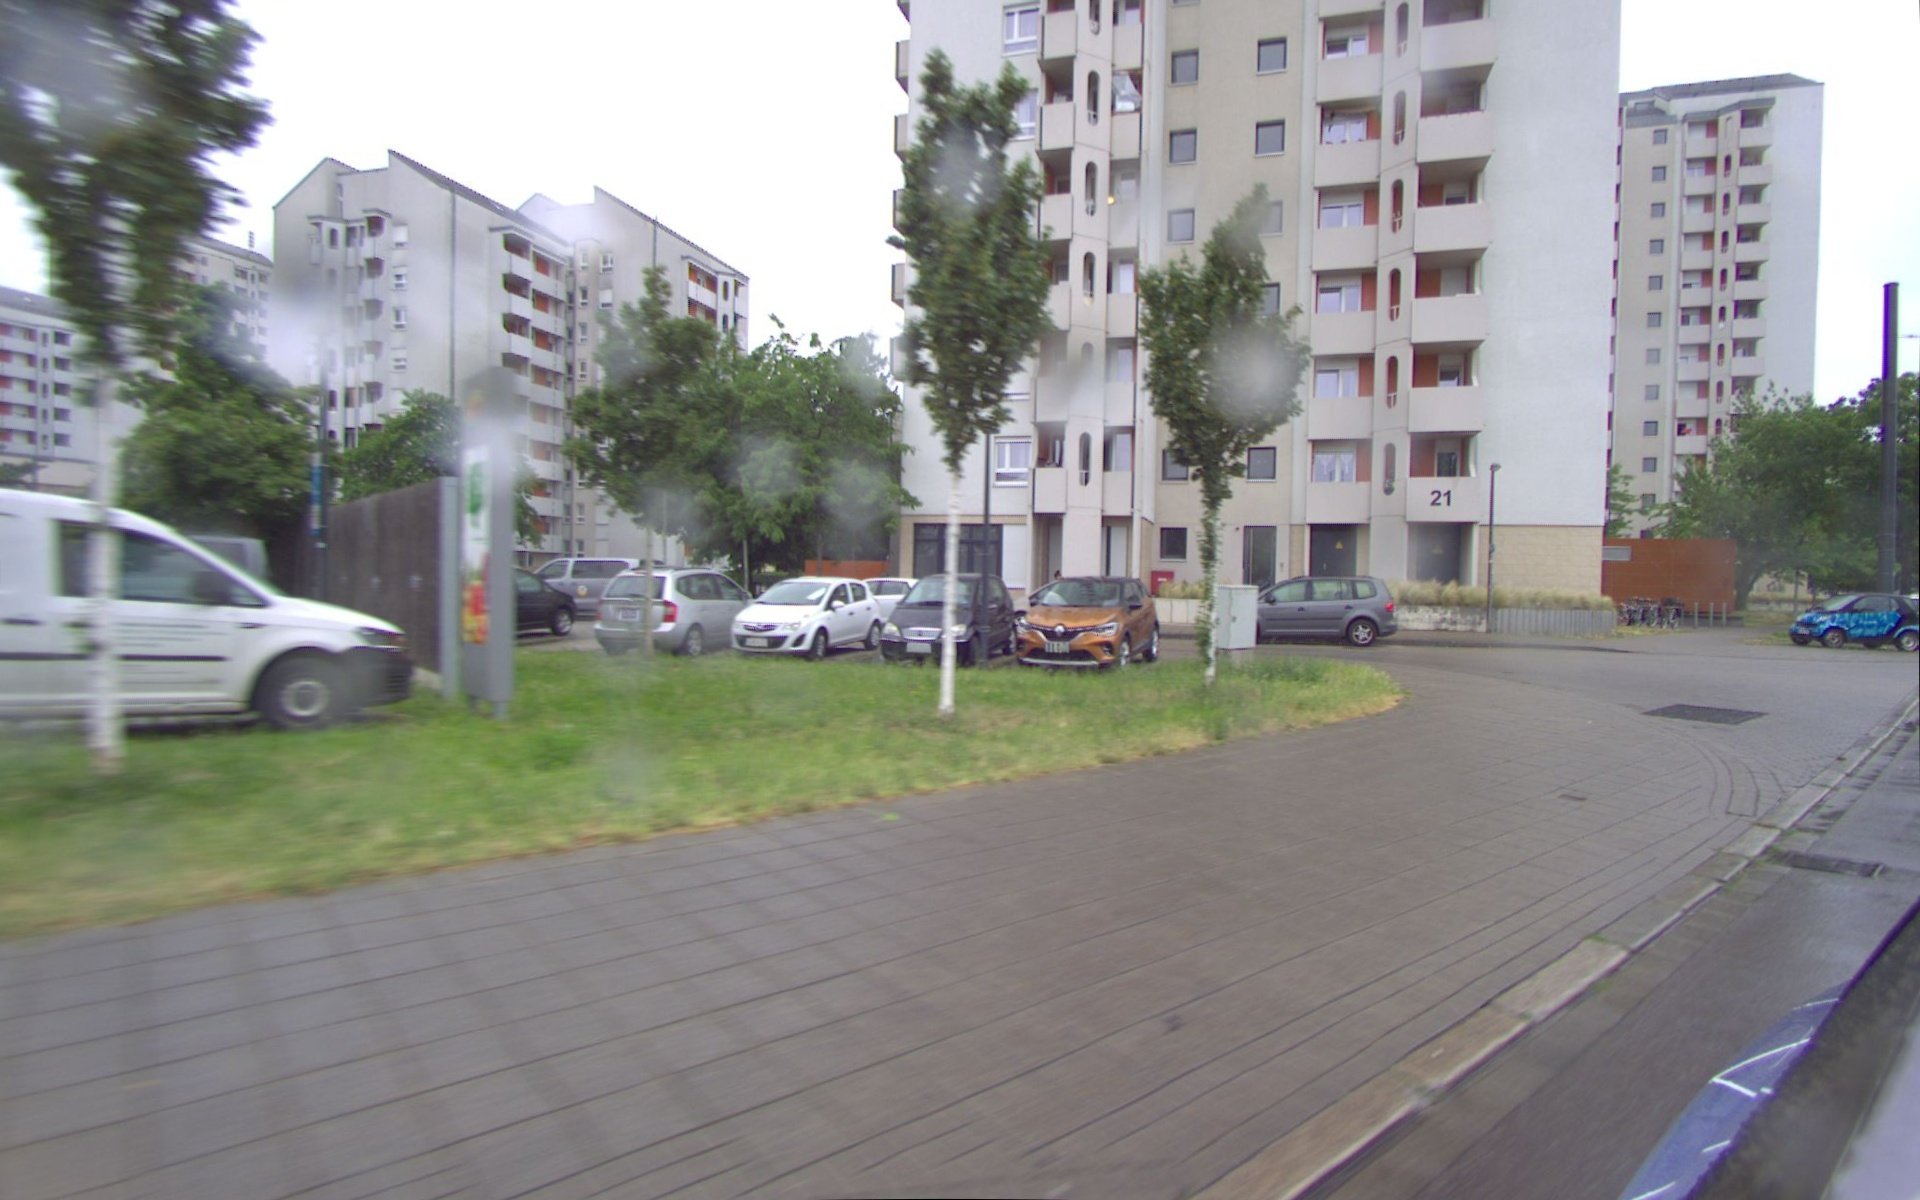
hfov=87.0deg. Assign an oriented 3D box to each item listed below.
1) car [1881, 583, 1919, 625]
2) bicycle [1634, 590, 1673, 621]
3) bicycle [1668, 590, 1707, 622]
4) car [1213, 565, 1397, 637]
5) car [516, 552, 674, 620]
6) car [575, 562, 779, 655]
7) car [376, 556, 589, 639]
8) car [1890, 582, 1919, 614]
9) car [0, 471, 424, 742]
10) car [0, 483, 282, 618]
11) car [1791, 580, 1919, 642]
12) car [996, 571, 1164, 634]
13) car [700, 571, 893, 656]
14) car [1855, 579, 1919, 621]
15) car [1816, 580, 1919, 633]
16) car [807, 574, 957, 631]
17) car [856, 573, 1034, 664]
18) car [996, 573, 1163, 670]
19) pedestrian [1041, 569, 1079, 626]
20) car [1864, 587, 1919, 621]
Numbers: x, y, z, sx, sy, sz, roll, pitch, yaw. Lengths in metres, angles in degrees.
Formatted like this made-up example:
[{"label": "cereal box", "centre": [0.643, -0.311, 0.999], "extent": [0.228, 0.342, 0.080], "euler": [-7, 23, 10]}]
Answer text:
[{"label": "car", "centre": [40.973, 0.281, 41.652], "extent": [4.121, 1.692, 1.679], "euler": [4, 2, 12]}, {"label": "bicycle", "centre": [24.210, 0.188, 35.324], "extent": [2.023, 1.018, 0.662], "euler": [-2, 1, -42]}, {"label": "bicycle", "centre": [24.844, 0.196, 34.554], "extent": [2.023, 1.018, 0.662], "euler": [-2, 1, -42]}, {"label": "car", "centre": [8.244, 0.020, 24.396], "extent": [4.059, 1.637, 1.804], "euler": [0, 0, 19]}, {"label": "car", "centre": [-11.073, -0.410, 30.789], "extent": [4.219, 1.943, 1.984], "euler": [0, 0, 17]}, {"label": "car", "centre": [-5.384, 0.132, 19.909], "extent": [1.941, 1.607, 4.343], "euler": [1, 0, 15]}, {"label": "car", "centre": [-10.340, -0.066, 22.329], "extent": [1.941, 1.629, 4.343], "euler": [1, 0, 15]}, {"label": "car", "centre": [47.024, 0.048, 47.656], "extent": [4.398, 1.445, 1.677], "euler": [4, 2, 15]}, {"label": "car", "centre": [-6.904, 0.031, 7.598], "extent": [4.808, 1.806, 1.968], "euler": [0, 0, -39]}, {"label": "car", "centre": [-13.339, -0.706, 15.568], "extent": [4.692, 1.893, 1.968], "euler": [0, 0, -39]}, {"label": "car", "centre": [24.697, 0.280, 27.688], "extent": [2.523, 1.567, 1.600], "euler": [1, 2, 9]}, {"label": "car", "centre": [3.114, 0.055, 26.166], "extent": [4.059, 1.553, 1.804], "euler": [0, 0, 19]}, {"label": "car", "centre": [-2.997, 0.174, 19.485], "extent": [1.976, 1.459, 3.973], "euler": [0, 1, 21]}, {"label": "car", "centre": [42.007, 0.093, 43.854], "extent": [4.391, 1.692, 1.808], "euler": [4, 2, 11]}, {"label": "car", "centre": [31.587, 0.260, 33.824], "extent": [4.117, 1.566, 1.761], "euler": [4, 2, 9]}, {"label": "car", "centre": [-2.134, 0.065, 27.823], "extent": [3.747, 1.493, 1.804], "euler": [0, 0, 19]}, {"label": "car", "centre": [-0.140, 0.247, 18.561], "extent": [1.976, 1.459, 3.973], "euler": [0, 1, 21]}, {"label": "car", "centre": [2.182, 0.273, 17.423], "extent": [1.976, 1.459, 3.973], "euler": [0, 1, 21]}, {"label": "pedestrian", "centre": [2.766, -0.083, 27.907], "extent": [0.827, 1.536, 1.088], "euler": [0, 1, 19]}, {"label": "car", "centre": [44.331, 0.271, 45.996], "extent": [4.396, 1.427, 1.761], "euler": [4, 2, 14]}]
